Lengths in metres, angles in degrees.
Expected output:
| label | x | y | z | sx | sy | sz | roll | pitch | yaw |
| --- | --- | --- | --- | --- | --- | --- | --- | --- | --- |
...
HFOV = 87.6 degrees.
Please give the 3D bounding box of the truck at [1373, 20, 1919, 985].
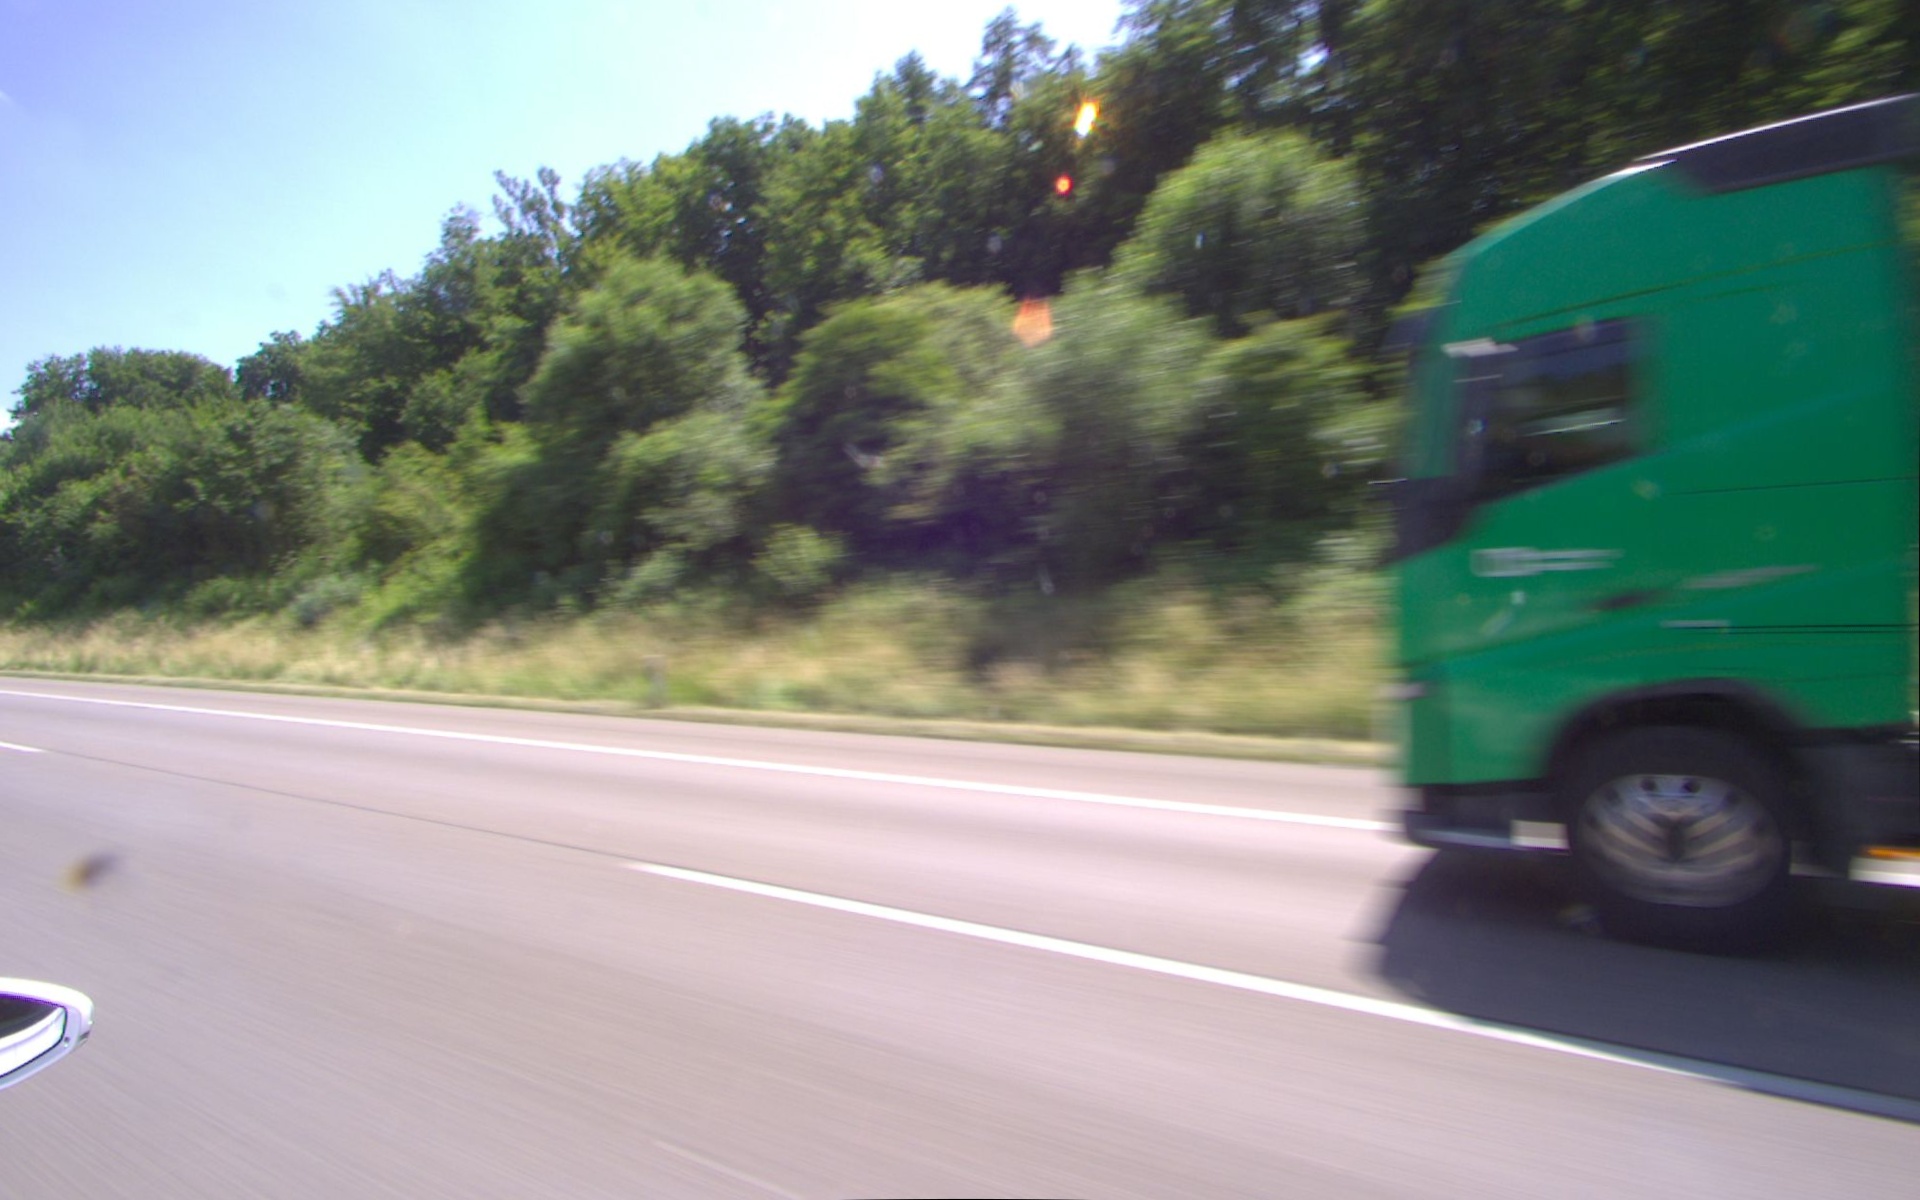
| label | x | y | z | sx | sy | sz | roll | pitch | yaw |
| --- | --- | --- | --- | --- | --- | --- | --- | --- | --- |
| truck | 4.819 | -0.366 | 4.911 | 4.822 | 3.891 | 2.506 | 0 | -1 | 32 |
